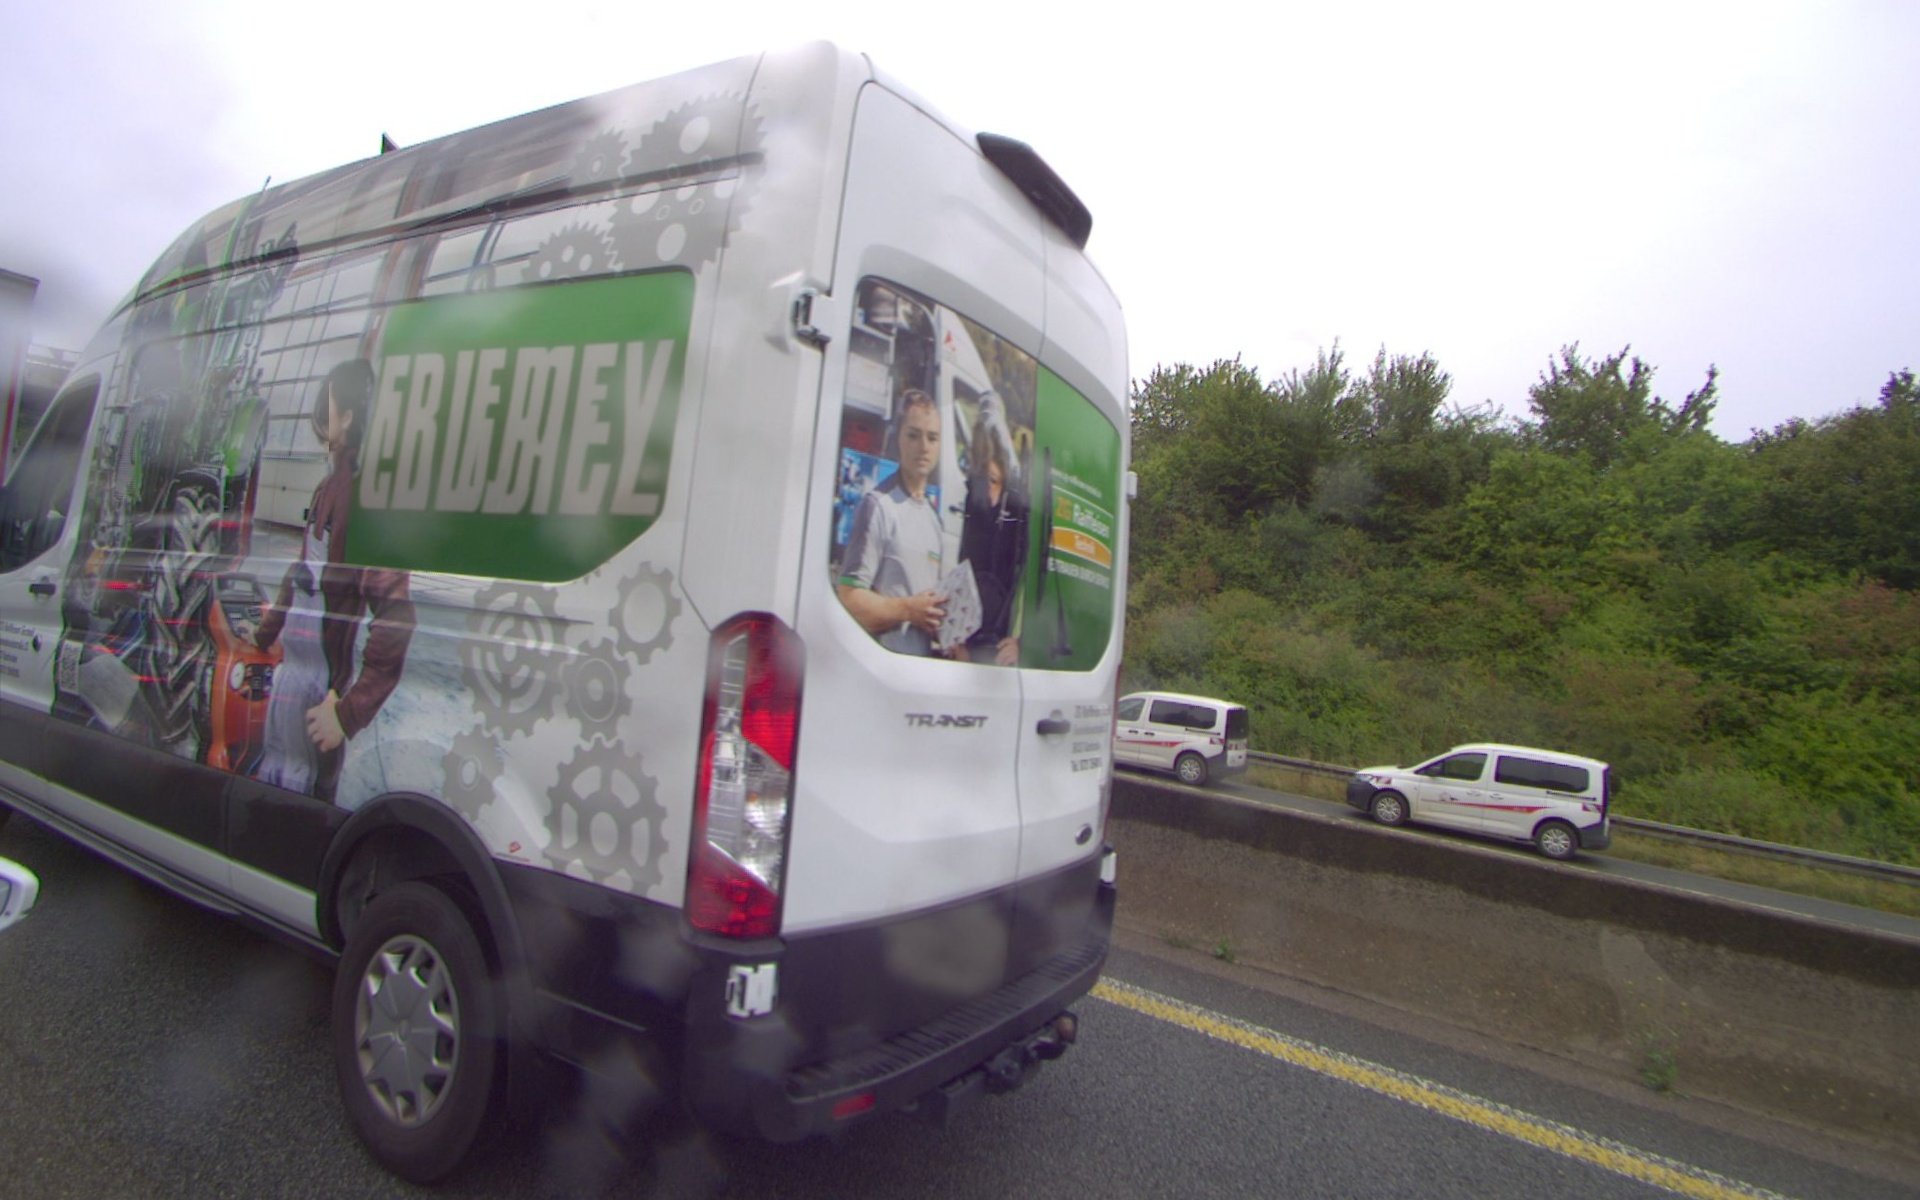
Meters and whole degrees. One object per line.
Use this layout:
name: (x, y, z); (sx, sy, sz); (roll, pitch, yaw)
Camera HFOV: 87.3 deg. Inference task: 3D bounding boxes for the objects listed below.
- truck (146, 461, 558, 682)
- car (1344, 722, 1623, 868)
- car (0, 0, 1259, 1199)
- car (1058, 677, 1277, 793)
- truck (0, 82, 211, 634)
truck: (-11.648, -0.670, 18.840); (8.967, 3.168, 2.525); (6, -1, 32)
car: (9.616, 3.493, 18.700); (4.257, 1.790, 1.732); (6, -2, 31)
car: (-2.215, -0.087, 4.133); (6.016, 2.707, 2.148); (6, -1, 32)
car: (4.509, 2.872, 22.000); (4.197, 1.778, 1.732); (6, -2, 31)
truck: (-18.949, -3.545, 15.880); (20.040, 5.739, 3.986); (6, -1, 32)
